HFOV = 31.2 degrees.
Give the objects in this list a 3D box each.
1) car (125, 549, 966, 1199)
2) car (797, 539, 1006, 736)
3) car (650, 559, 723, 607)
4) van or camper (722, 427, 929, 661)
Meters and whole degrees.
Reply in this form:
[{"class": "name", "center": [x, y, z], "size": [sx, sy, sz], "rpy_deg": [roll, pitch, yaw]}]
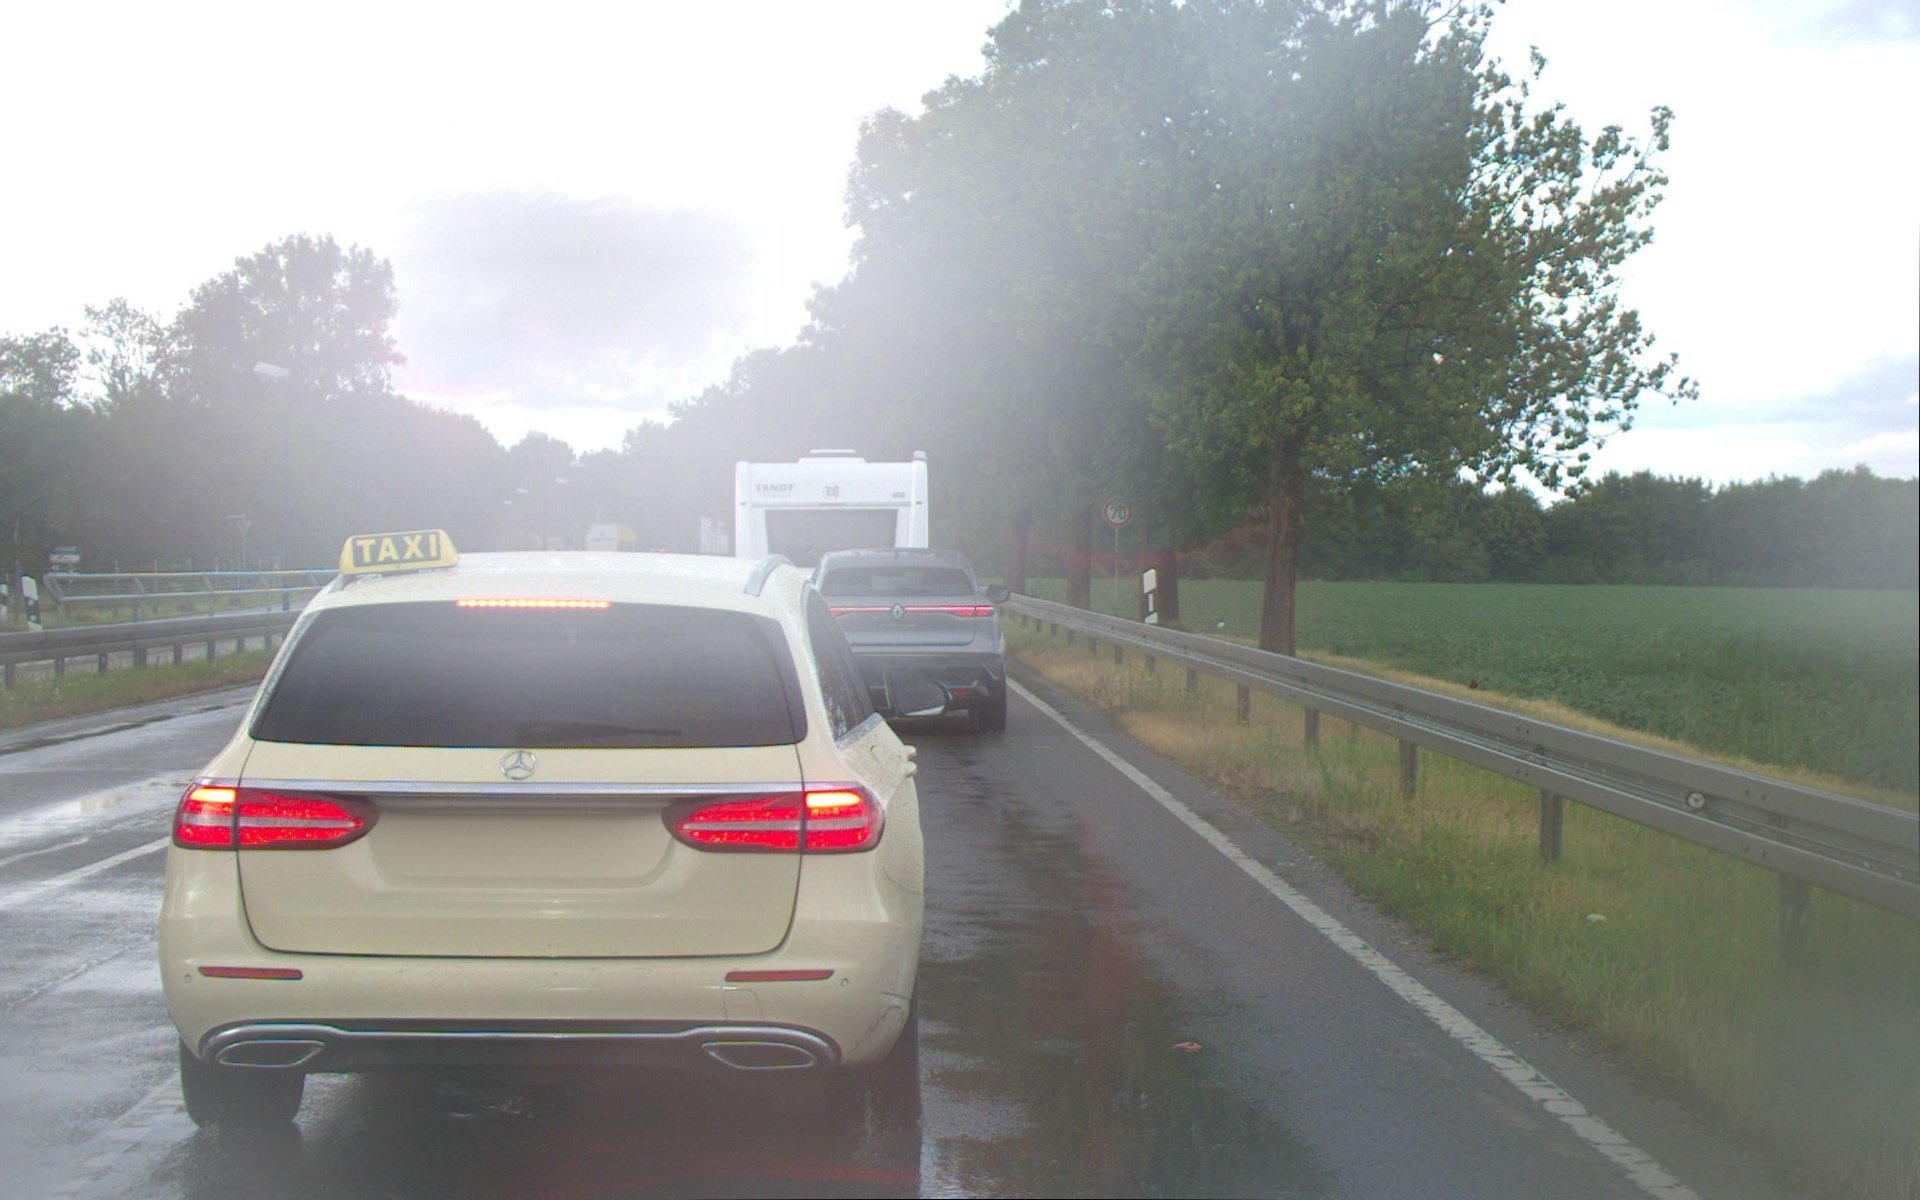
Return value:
[{"class": "car", "center": [-0.901, 0.598, 9.569], "size": [1.825, 1.480, 4.145], "rpy_deg": [0, 1, 0]}, {"class": "car", "center": [-0.490, 0.258, 28.918], "size": [1.627, 1.524, 3.933], "rpy_deg": [0, 1, -1]}, {"class": "car", "center": [-7.508, -0.482, 94.615], "size": [1.758, 1.265, 4.000], "rpy_deg": [0, 1, -1]}, {"class": "van or camper", "center": [-1.597, -0.711, 42.576], "size": [2.350, 2.671, 5.769], "rpy_deg": [1, 1, -1]}]
